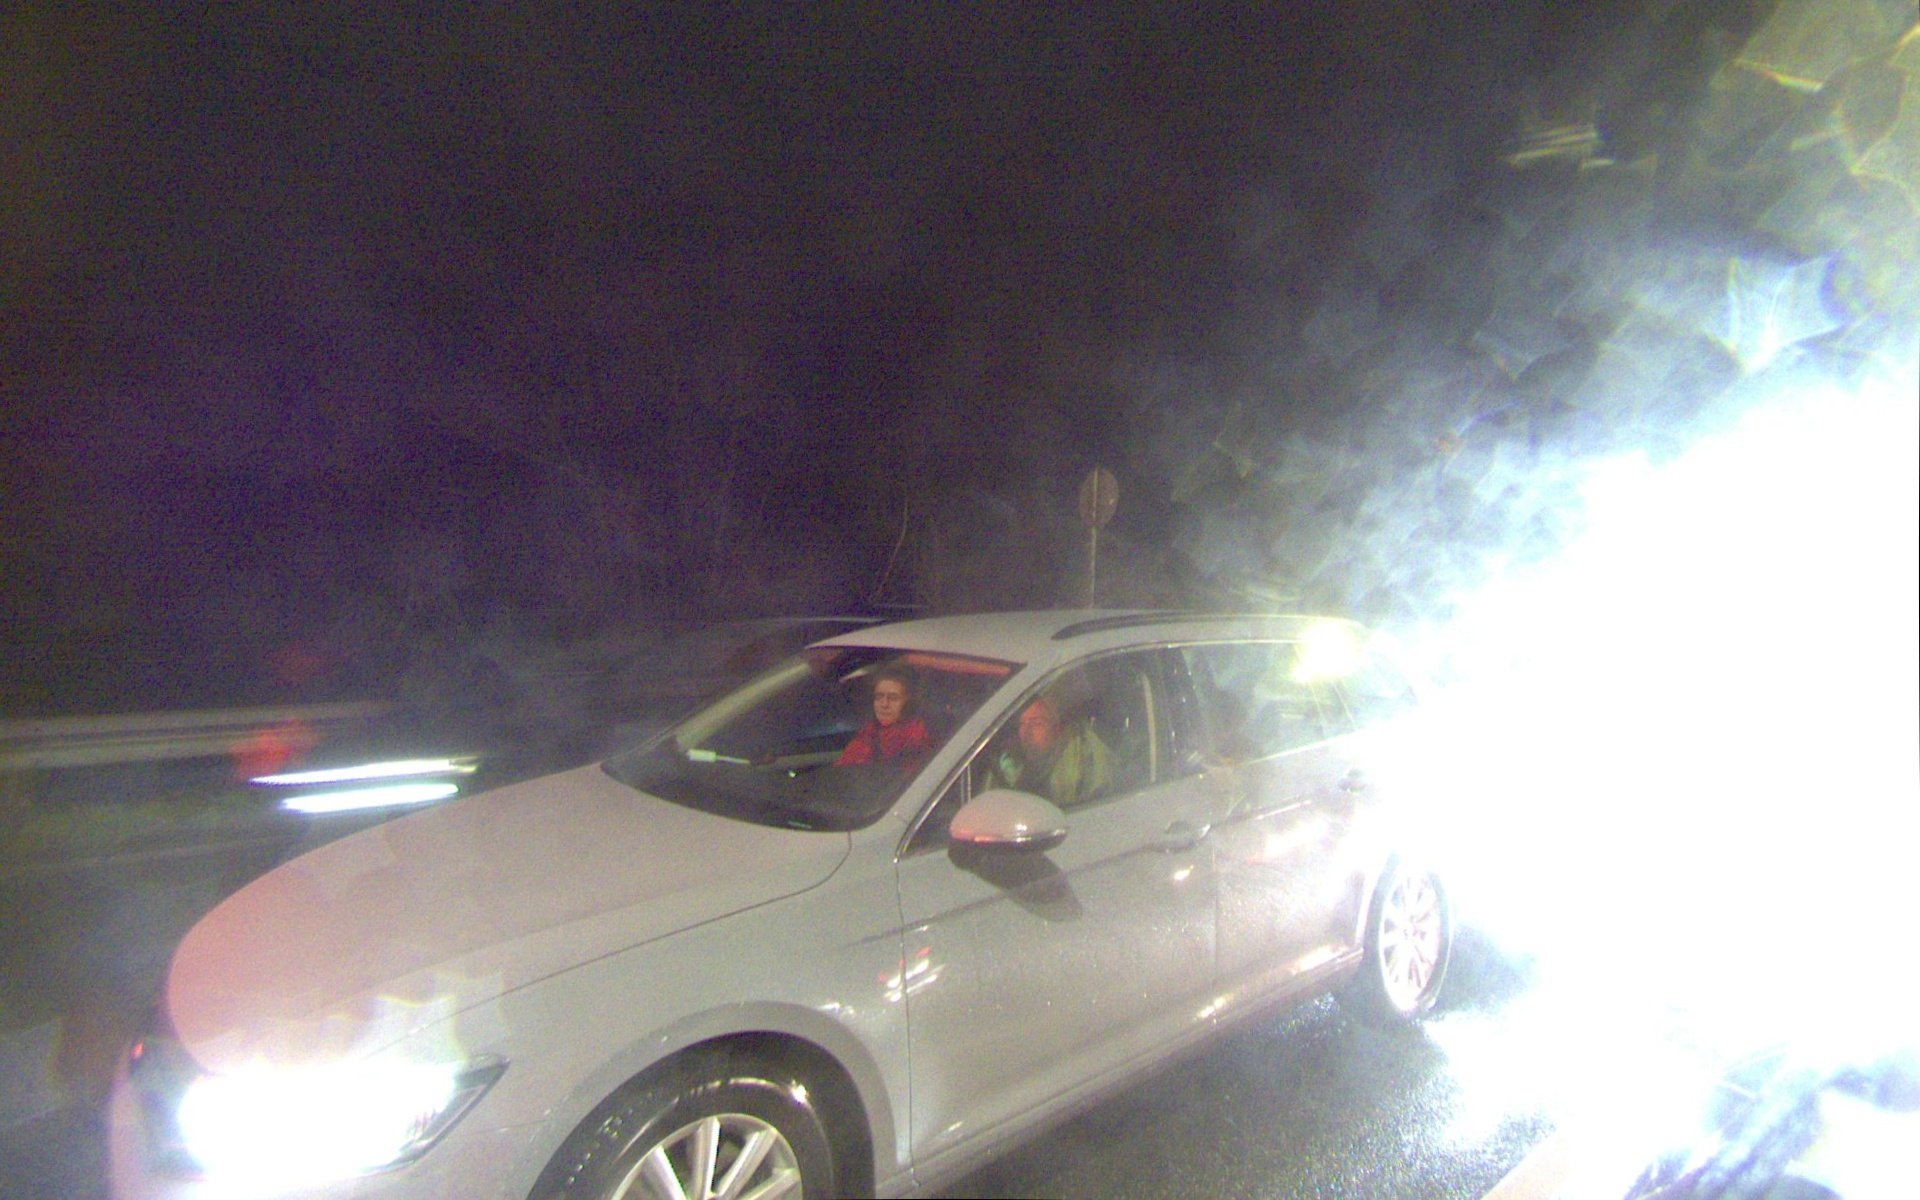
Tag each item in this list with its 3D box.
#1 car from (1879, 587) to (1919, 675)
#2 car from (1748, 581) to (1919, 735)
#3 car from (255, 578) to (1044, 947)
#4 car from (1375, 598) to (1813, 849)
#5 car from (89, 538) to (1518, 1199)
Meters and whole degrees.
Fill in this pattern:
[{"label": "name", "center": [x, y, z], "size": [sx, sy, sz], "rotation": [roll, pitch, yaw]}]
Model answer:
[{"label": "car", "center": [19.856, 0.579, 20.006], "size": [4.315, 1.618, 1.997], "rotation": [-1, 2, -41]}, {"label": "car", "center": [11.520, 0.600, 12.508], "size": [4.315, 1.618, 1.997], "rotation": [-1, 2, -41]}, {"label": "car", "center": [-1.683, 0.670, 6.306], "size": [4.263, 1.500, 1.996], "rotation": [-1, -1, -42]}, {"label": "car", "center": [5.108, 0.721, 7.936], "size": [4.066, 1.435, 1.742], "rotation": [-1, 0, -40]}, {"label": "car", "center": [0.036, 0.669, 3.315], "size": [4.336, 1.541, 1.710], "rotation": [-1, 0, -40]}]
